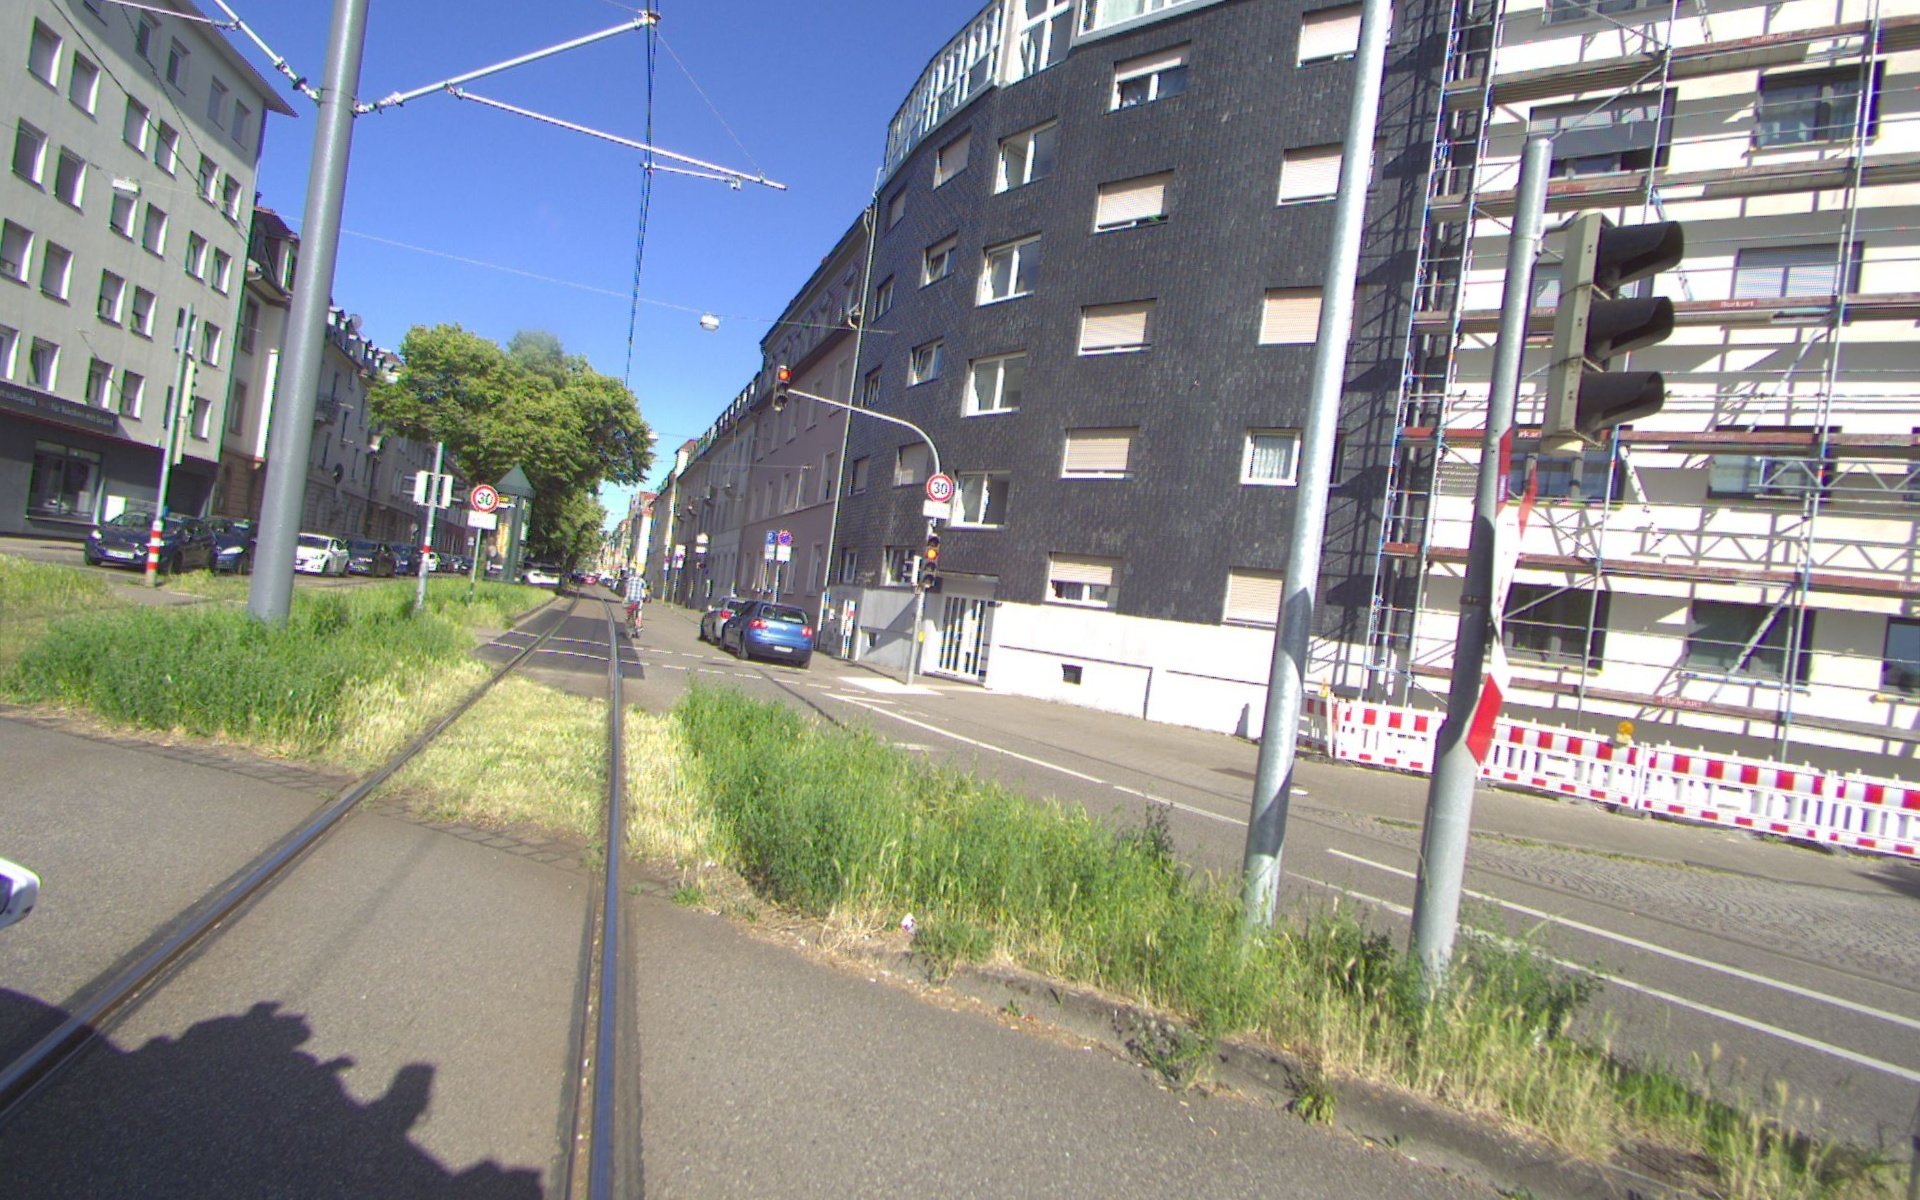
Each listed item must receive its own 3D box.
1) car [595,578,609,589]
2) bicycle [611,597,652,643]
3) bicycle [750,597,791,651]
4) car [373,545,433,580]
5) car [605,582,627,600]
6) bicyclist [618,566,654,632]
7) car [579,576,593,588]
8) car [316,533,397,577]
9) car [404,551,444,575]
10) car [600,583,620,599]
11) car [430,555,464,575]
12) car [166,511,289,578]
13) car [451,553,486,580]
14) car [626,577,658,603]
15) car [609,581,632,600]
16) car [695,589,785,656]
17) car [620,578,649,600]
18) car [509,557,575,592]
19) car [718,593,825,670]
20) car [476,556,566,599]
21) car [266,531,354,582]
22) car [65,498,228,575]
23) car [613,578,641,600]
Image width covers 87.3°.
[{"bbox_3d":[-54.338,-2.471,152.792,1.658,1.382,3.682,9,-2,-18],"label":"car"},{"bbox_3d":[-8.236,0.487,25.258,0.579,1.044,1.855,8,-1,-9],"label":"bicycle"},{"bbox_3d":[-6.019,0.723,31.747,0.567,1.528,2.794,8,-1,-21],"label":"bicycle"},{"bbox_3d":[-29.943,-1.986,54.209,1.972,1.504,3.985,9,-2,-19],"label":"car"},{"bbox_3d":[-36.793,-0.995,107.657,1.916,1.485,3.980,9,-1,-21],"label":"car"},{"bbox_3d":[-8.197,-0.012,25.473,0.553,1.577,0.822,8,-1,-10],"label":"bicyclist"},{"bbox_3d":[-55.483,-2.729,149.289,1.791,1.485,3.980,9,-1,-21],"label":"car"},{"bbox_3d":[-25.714,-1.867,42.990,1.972,1.490,3.985,9,-2,-19],"label":"car"},{"bbox_3d":[-38.930,-2.684,73.125,1.974,1.411,3.981,9,-2,-21],"label":"car"},{"bbox_3d":[-41.140,-1.097,118.110,1.916,1.485,3.980,9,-1,-21],"label":"car"},{"bbox_3d":[-44.674,-3.016,87.683,1.972,1.363,3.984,9,-2,-19],"label":"car"},{"bbox_3d":[-21.440,-1.564,29.603,1.772,1.583,3.750,9,-2,-20],"label":"car"},{"bbox_3d":[-39.030,-2.625,79.977,1.974,1.770,3.981,9,-2,-21],"label":"car"},{"bbox_3d":[-24.656,-0.746,77.878,1.973,1.635,3.985,9,-3,-20],"label":"car"},{"bbox_3d":[-34.333,-0.953,101.692,1.916,1.485,3.980,9,-1,-21],"label":"car"},{"bbox_3d":[-6.552,0.608,29.669,1.801,1.526,3.980,8,-1,-22],"label":"car"},{"bbox_3d":[-27.147,-0.933,83.782,1.916,1.485,3.980,9,-1,-21],"label":"car"},{"bbox_3d":[-29.254,-1.775,70.528,3.755,1.806,1.839,8,-1,-9],"label":"car"},{"bbox_3d":[-4.771,0.741,25.087,1.758,1.459,3.599,9,-2,-23],"label":"car"},{"bbox_3d":[-22.713,-1.153,52.092,3.926,1.612,1.911,8,-1,22],"label":"car"},{"bbox_3d":[-23.542,-1.548,36.571,1.772,1.500,3.517,9,-2,-20],"label":"car"},{"bbox_3d":[-19.371,-1.448,24.146,1.772,1.412,3.709,9,-2,-20],"label":"car"},{"bbox_3d":[-29.318,-0.979,88.552,1.916,1.485,3.980,9,-1,-21],"label":"car"}]
